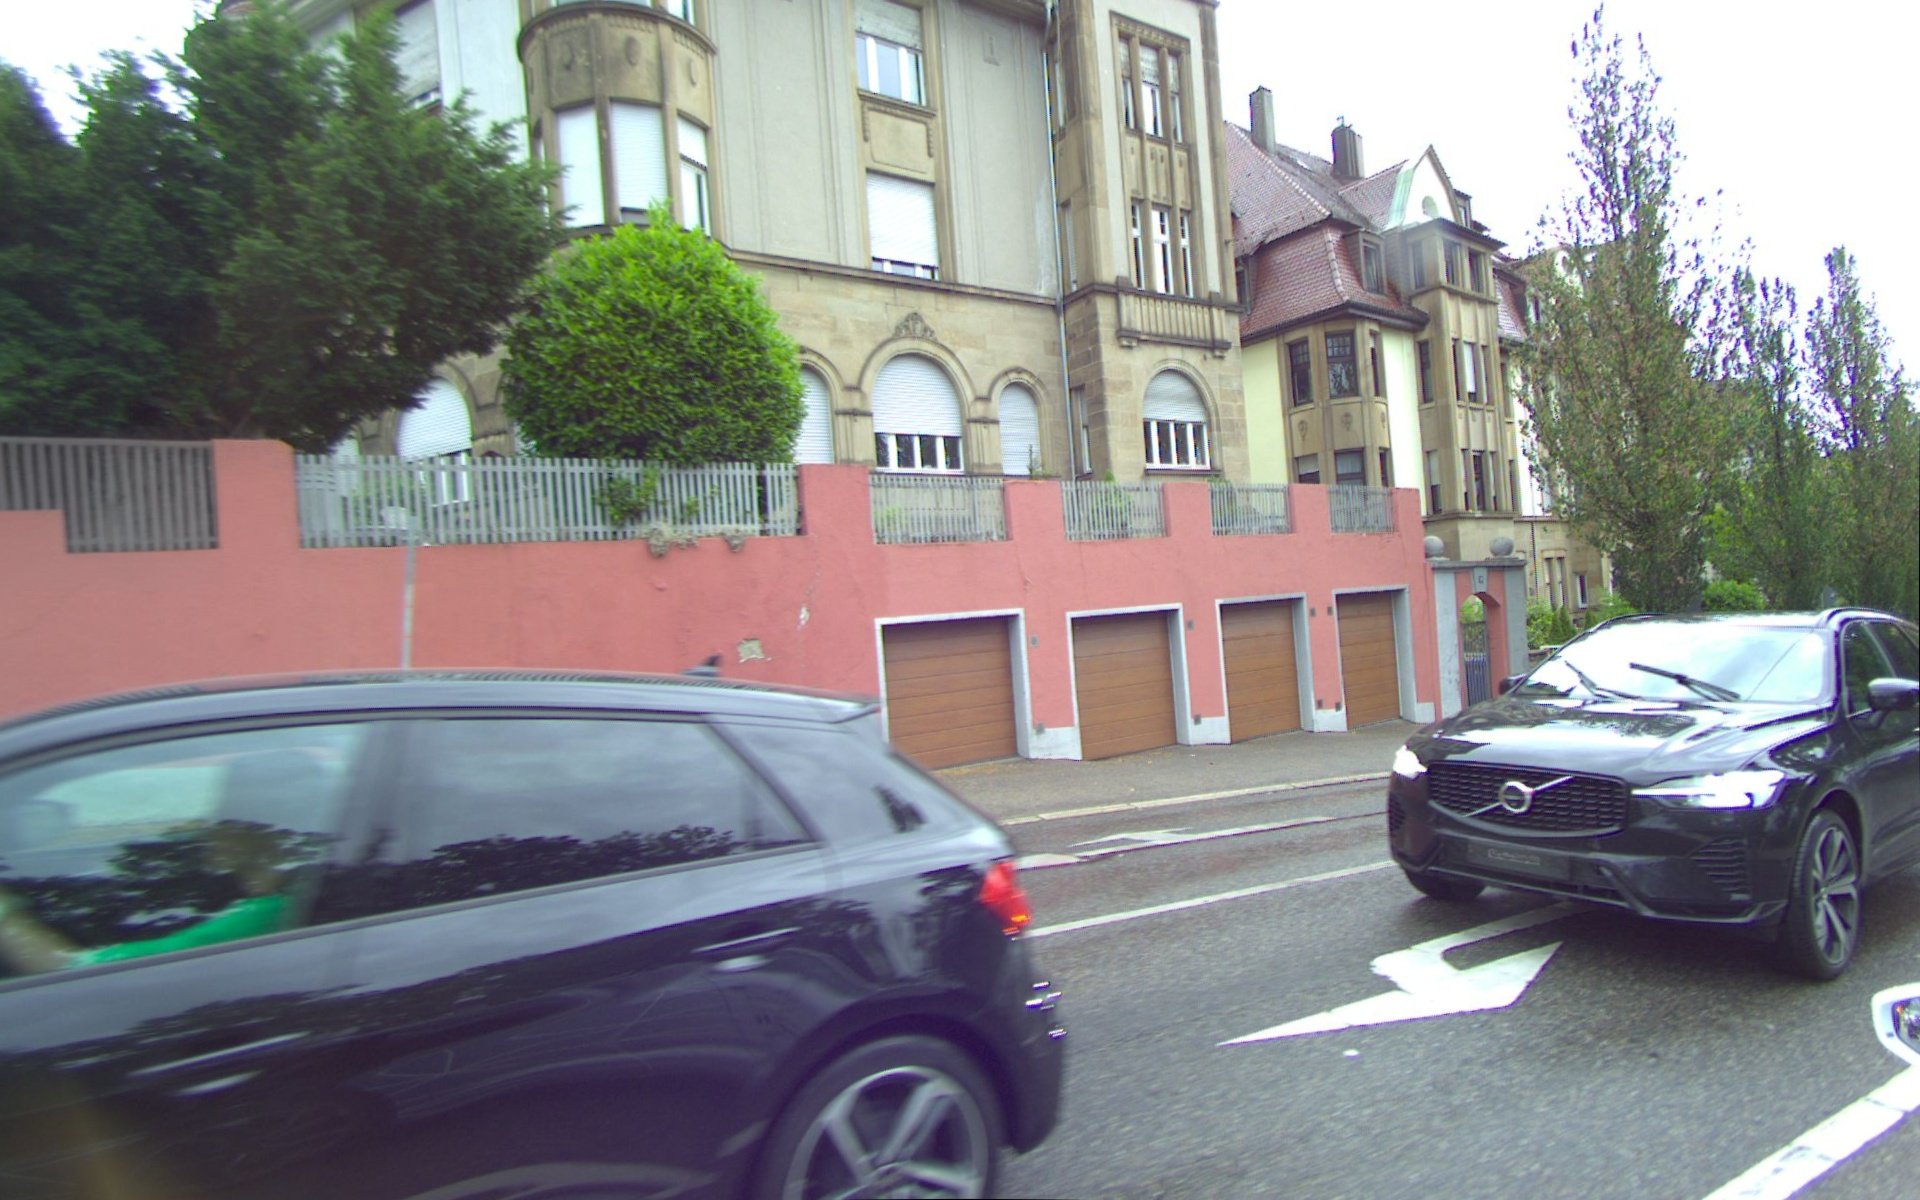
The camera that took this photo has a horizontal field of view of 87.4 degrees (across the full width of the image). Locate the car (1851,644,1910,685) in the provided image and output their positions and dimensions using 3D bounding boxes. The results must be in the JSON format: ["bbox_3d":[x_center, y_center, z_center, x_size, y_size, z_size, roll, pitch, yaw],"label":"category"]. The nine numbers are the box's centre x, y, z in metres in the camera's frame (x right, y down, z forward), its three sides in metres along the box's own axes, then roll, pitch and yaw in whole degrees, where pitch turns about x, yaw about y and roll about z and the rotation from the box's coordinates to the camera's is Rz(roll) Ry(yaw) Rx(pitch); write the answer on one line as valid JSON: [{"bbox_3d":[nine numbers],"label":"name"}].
[{"bbox_3d":[42.313,2.949,46.143,1.770,1.672,4.171,-8,-7,43],"label":"car"}]

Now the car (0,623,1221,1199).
[{"bbox_3d":[-1.474,0.818,2.366,3.955,1.448,1.806,1,-4,-32],"label":"car"}]

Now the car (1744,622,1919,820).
[{"bbox_3d":[8.946,0.972,9.100,4.221,1.517,1.762,1,-3,-36],"label":"car"}]

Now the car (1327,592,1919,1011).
[{"bbox_3d":[4.370,0.834,5.913,4.539,1.595,1.864,1,-3,-35],"label":"car"}]

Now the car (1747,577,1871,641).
[{"bbox_3d":[23.631,0.301,27.929,3.963,1.633,1.802,2,-2,-37],"label":"car"}]
